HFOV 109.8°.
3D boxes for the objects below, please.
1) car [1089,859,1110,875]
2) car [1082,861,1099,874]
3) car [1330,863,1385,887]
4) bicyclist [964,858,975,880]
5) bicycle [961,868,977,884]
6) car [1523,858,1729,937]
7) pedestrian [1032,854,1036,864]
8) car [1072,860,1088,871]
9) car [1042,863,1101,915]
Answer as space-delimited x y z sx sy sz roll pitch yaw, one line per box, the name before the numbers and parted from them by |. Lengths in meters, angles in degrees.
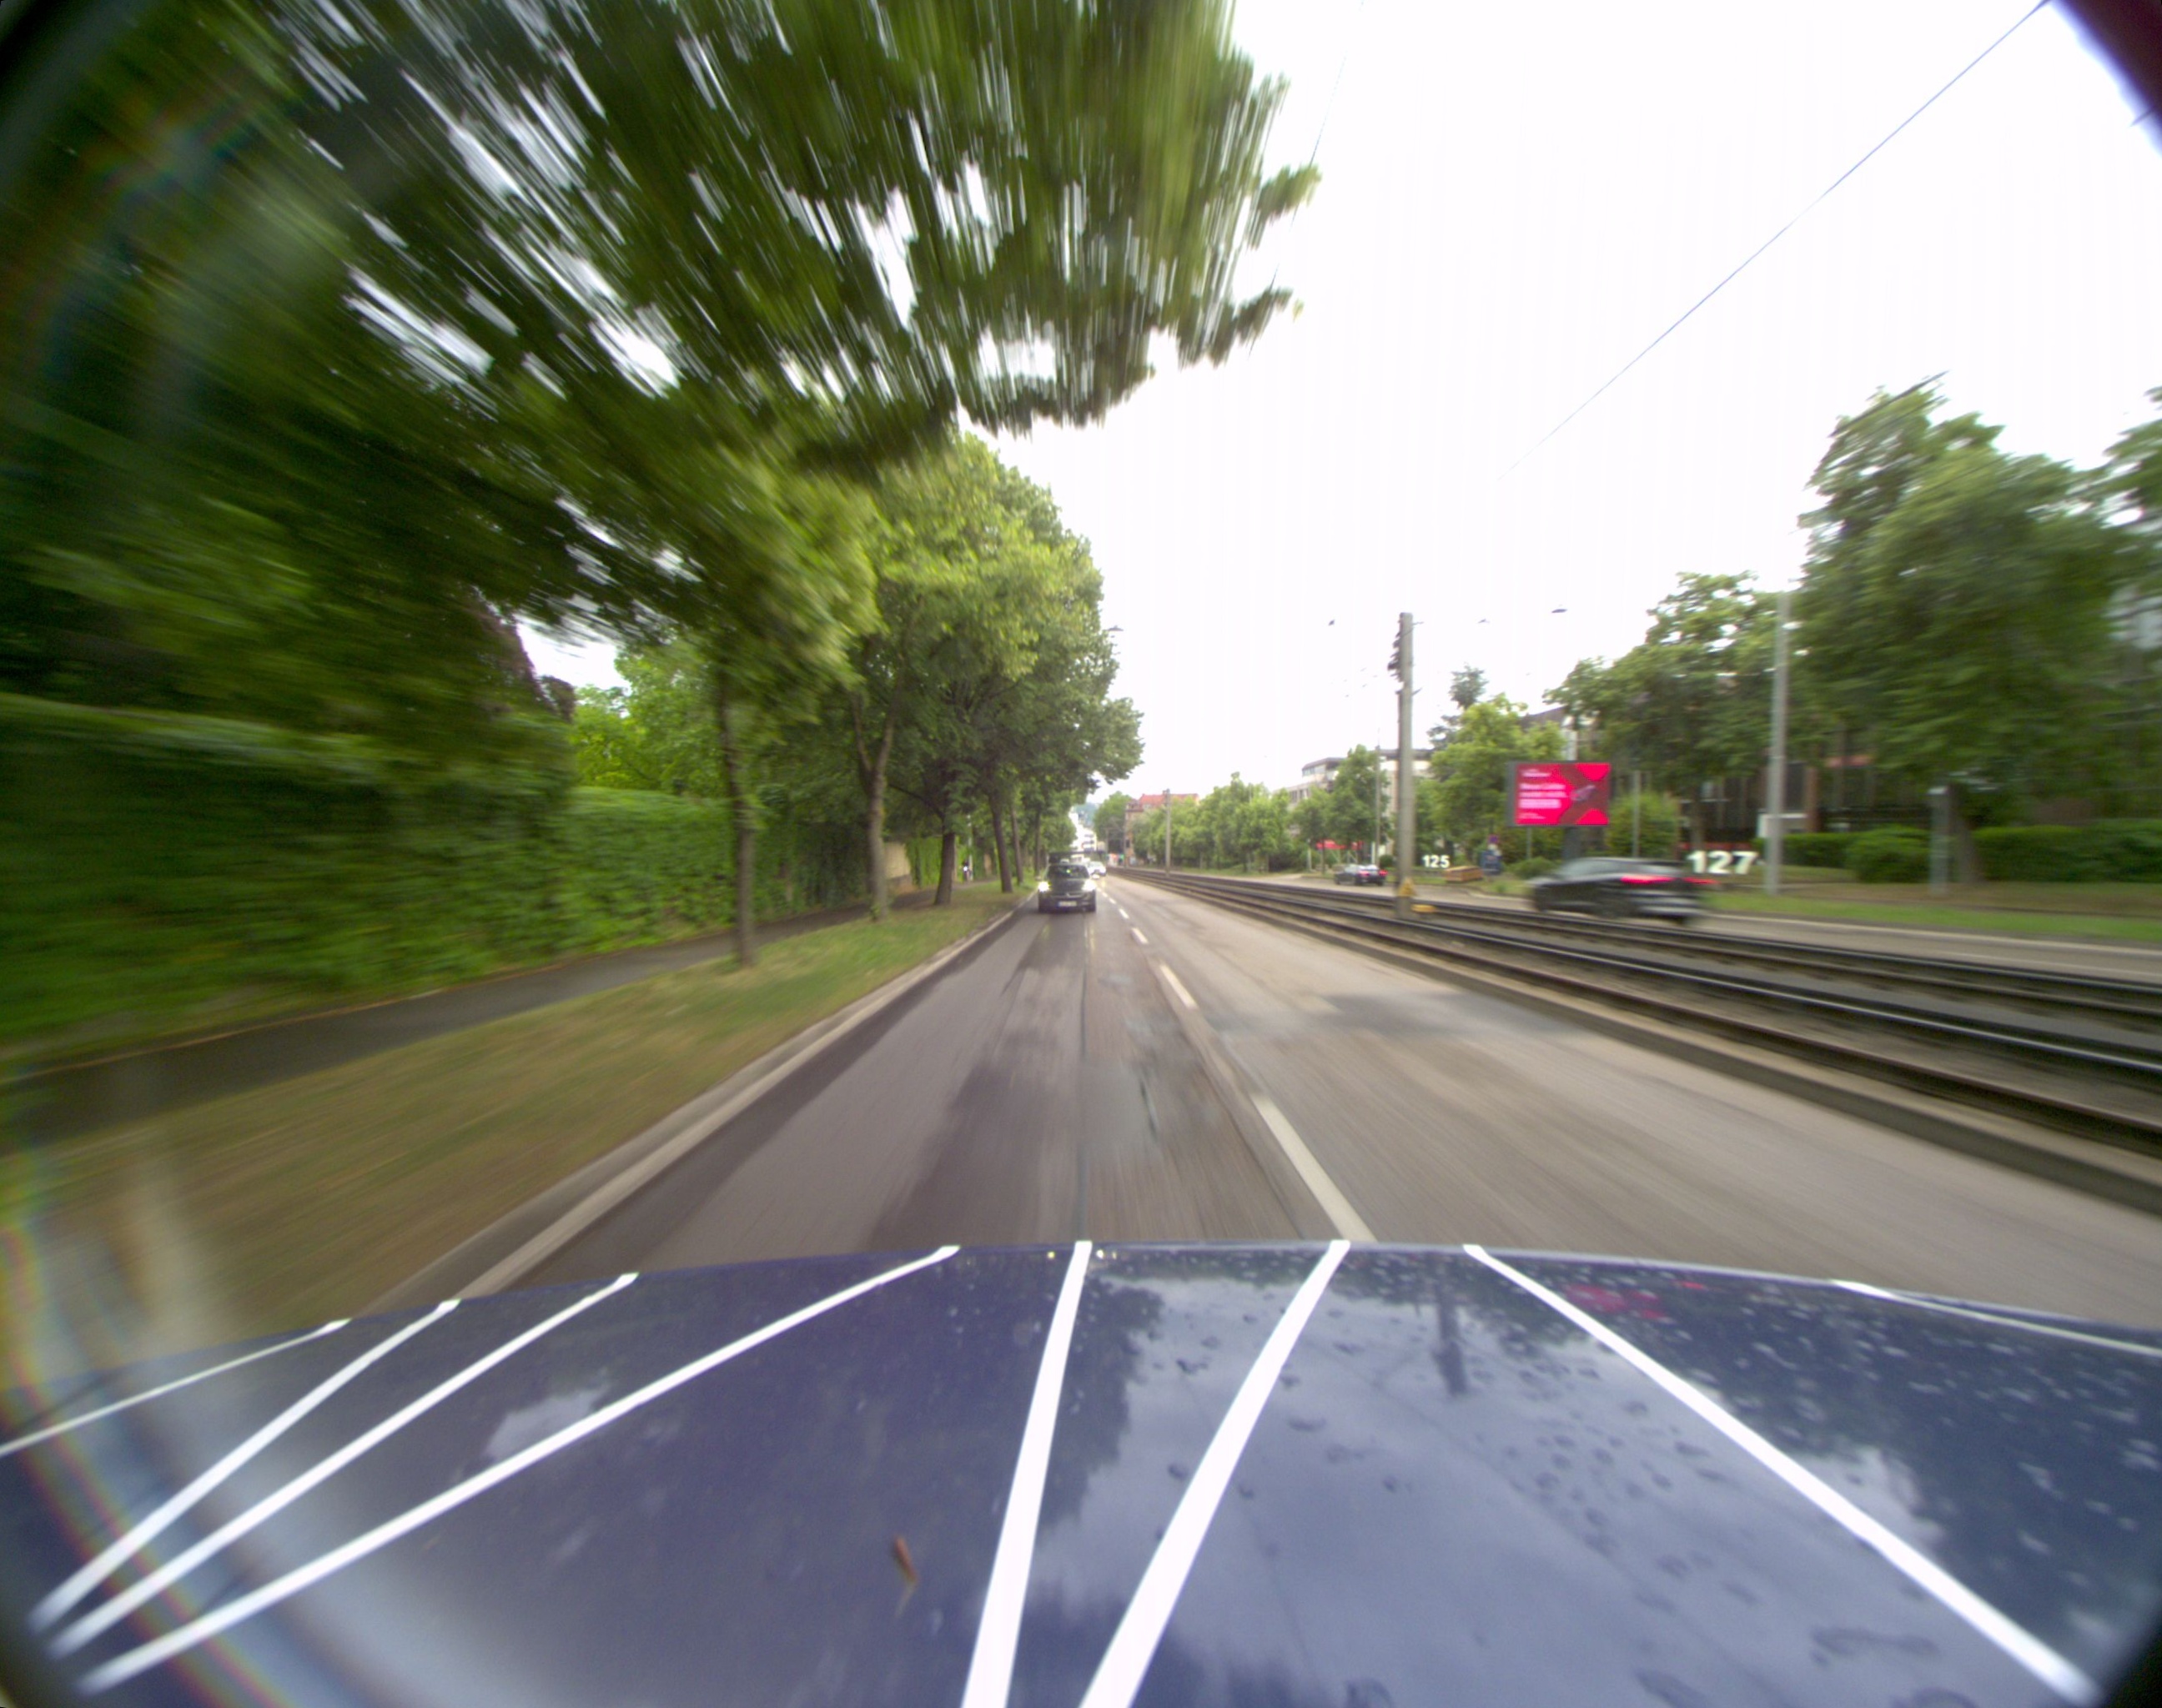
car | 1.799 1.232 74.429 1.807 1.483 4.102 0 0 -2
car | 1.131 1.596 91.318 1.807 1.483 4.102 0 -1 -2
car | 18.368 1.373 50.688 1.799 1.521 4.621 0 0 -2
bicyclist | -7.017 0.934 47.843 0.536 1.381 0.666 0 0 2
bicycle | -7.037 1.382 47.724 0.544 0.942 2.550 0 0 2
car | 12.659 0.932 18.059 1.839 1.646 4.239 0 0 -1
pedestrian | -8.688 0.879 140.557 0.710 1.769 0.900 -1 0 -4
car | -0.155 1.887 125.419 2.000 1.801 3.997 -2 0 -8
car | -0.340 1.006 23.328 1.658 1.483 3.829 0 -1 -2
